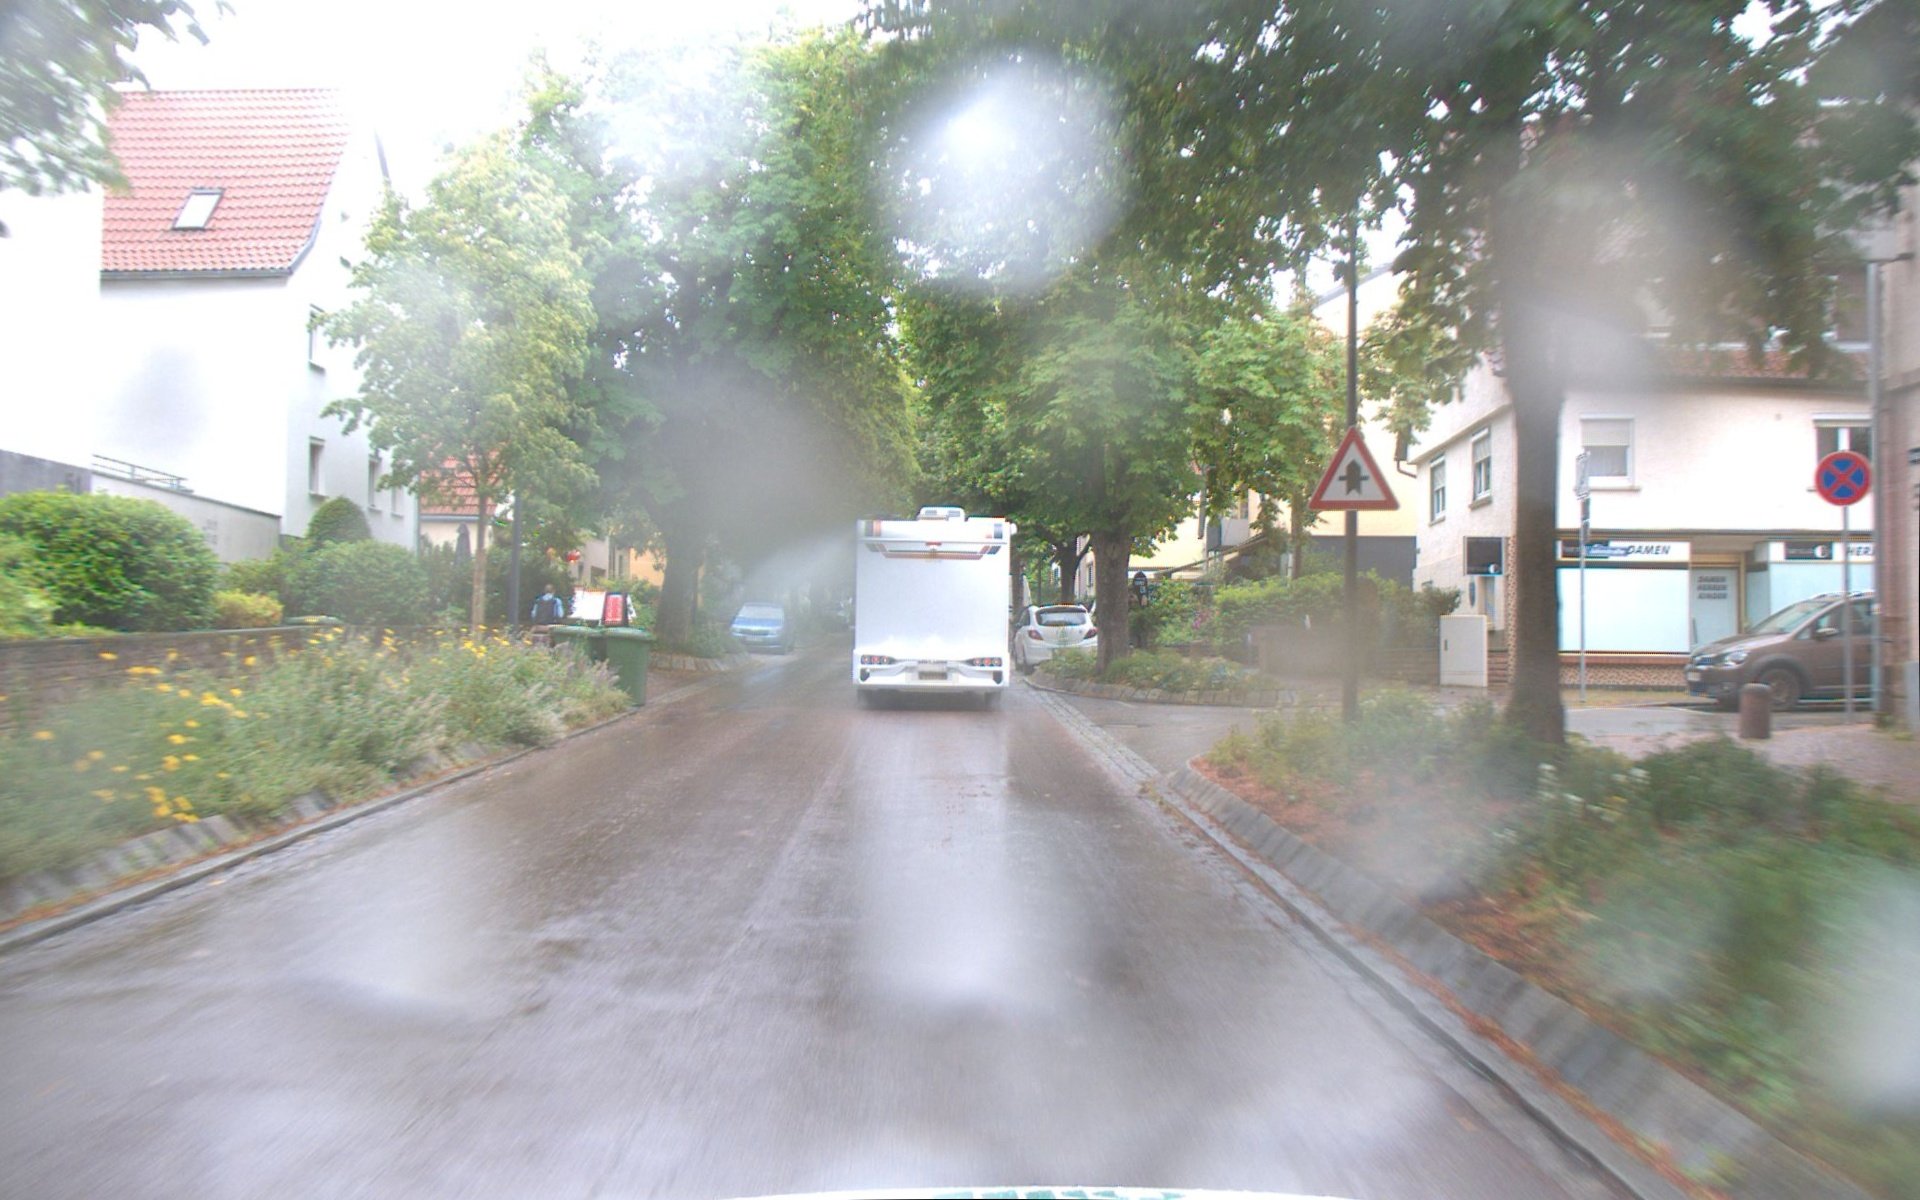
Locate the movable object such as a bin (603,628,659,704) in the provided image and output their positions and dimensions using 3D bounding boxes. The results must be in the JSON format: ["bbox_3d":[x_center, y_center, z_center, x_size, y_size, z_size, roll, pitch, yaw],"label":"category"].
[{"bbox_3d":[-4.736,0.946,23.844,0.649,1.093,0.596,0,-1,3],"label":"movable object such as a bin"}]

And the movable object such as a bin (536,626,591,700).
[{"bbox_3d":[-5.912,0.937,24.678,0.649,1.093,0.596,0,-1,3],"label":"movable object such as a bin"}]

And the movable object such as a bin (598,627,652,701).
[{"bbox_3d":[-4.986,0.946,24.612,0.649,1.086,0.596,0,-1,3],"label":"movable object such as a bin"}]

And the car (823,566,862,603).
[{"bbox_3d":[-6.797,-0.877,96.033,1.953,2.049,3.999,1,0,-1],"label":"car"}]

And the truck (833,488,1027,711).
[{"bbox_3d":[-0.460,0.015,25.975,2.640,3.038,6.235,1,0,-1],"label":"truck"}]

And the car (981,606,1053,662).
[{"bbox_3d":[1.534,0.915,45.683,1.772,1.435,3.782,1,0,-1],"label":"car"}]

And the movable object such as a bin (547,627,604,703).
[{"bbox_3d":[-5.556,0.931,23.909,0.649,1.093,0.596,0,-1,3],"label":"movable object such as a bin"}]

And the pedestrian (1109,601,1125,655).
[{"bbox_3d":[5.152,0.923,54.301,0.480,1.762,0.769,1,0,9],"label":"pedestrian"}]

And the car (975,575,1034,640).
[{"bbox_3d":[1.751,0.311,66.871,2.097,2.503,5.434,1,0,-1],"label":"car"}]

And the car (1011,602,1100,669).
[{"bbox_3d":[2.065,0.759,36.731,1.646,1.424,3.793,0,0,-2],"label":"car"}]

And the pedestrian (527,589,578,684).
[{"bbox_3d":[-7.142,0.631,29.006,0.637,1.622,0.932,1,-1,-1],"label":"pedestrian"}]

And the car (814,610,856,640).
[{"bbox_3d":[-6.464,1.284,85.700,1.736,1.413,4.545,2,0,0],"label":"car"}]

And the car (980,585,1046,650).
[{"bbox_3d":[1.726,0.559,54.957,1.953,2.049,3.999,1,0,-1],"label":"car"}]

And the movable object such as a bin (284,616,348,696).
[{"bbox_3d":[-9.493,0.821,24.399,0.649,1.153,0.659,1,-1,1],"label":"movable object such as a bin"}]

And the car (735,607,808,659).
[{"bbox_3d":[-5.495,0.946,48.634,1.714,1.420,3.795,1,0,0],"label":"car"}]

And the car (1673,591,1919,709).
[{"bbox_3d":[12.678,0.687,23.746,4.093,1.611,1.841,-1,0,5],"label":"car"}]
